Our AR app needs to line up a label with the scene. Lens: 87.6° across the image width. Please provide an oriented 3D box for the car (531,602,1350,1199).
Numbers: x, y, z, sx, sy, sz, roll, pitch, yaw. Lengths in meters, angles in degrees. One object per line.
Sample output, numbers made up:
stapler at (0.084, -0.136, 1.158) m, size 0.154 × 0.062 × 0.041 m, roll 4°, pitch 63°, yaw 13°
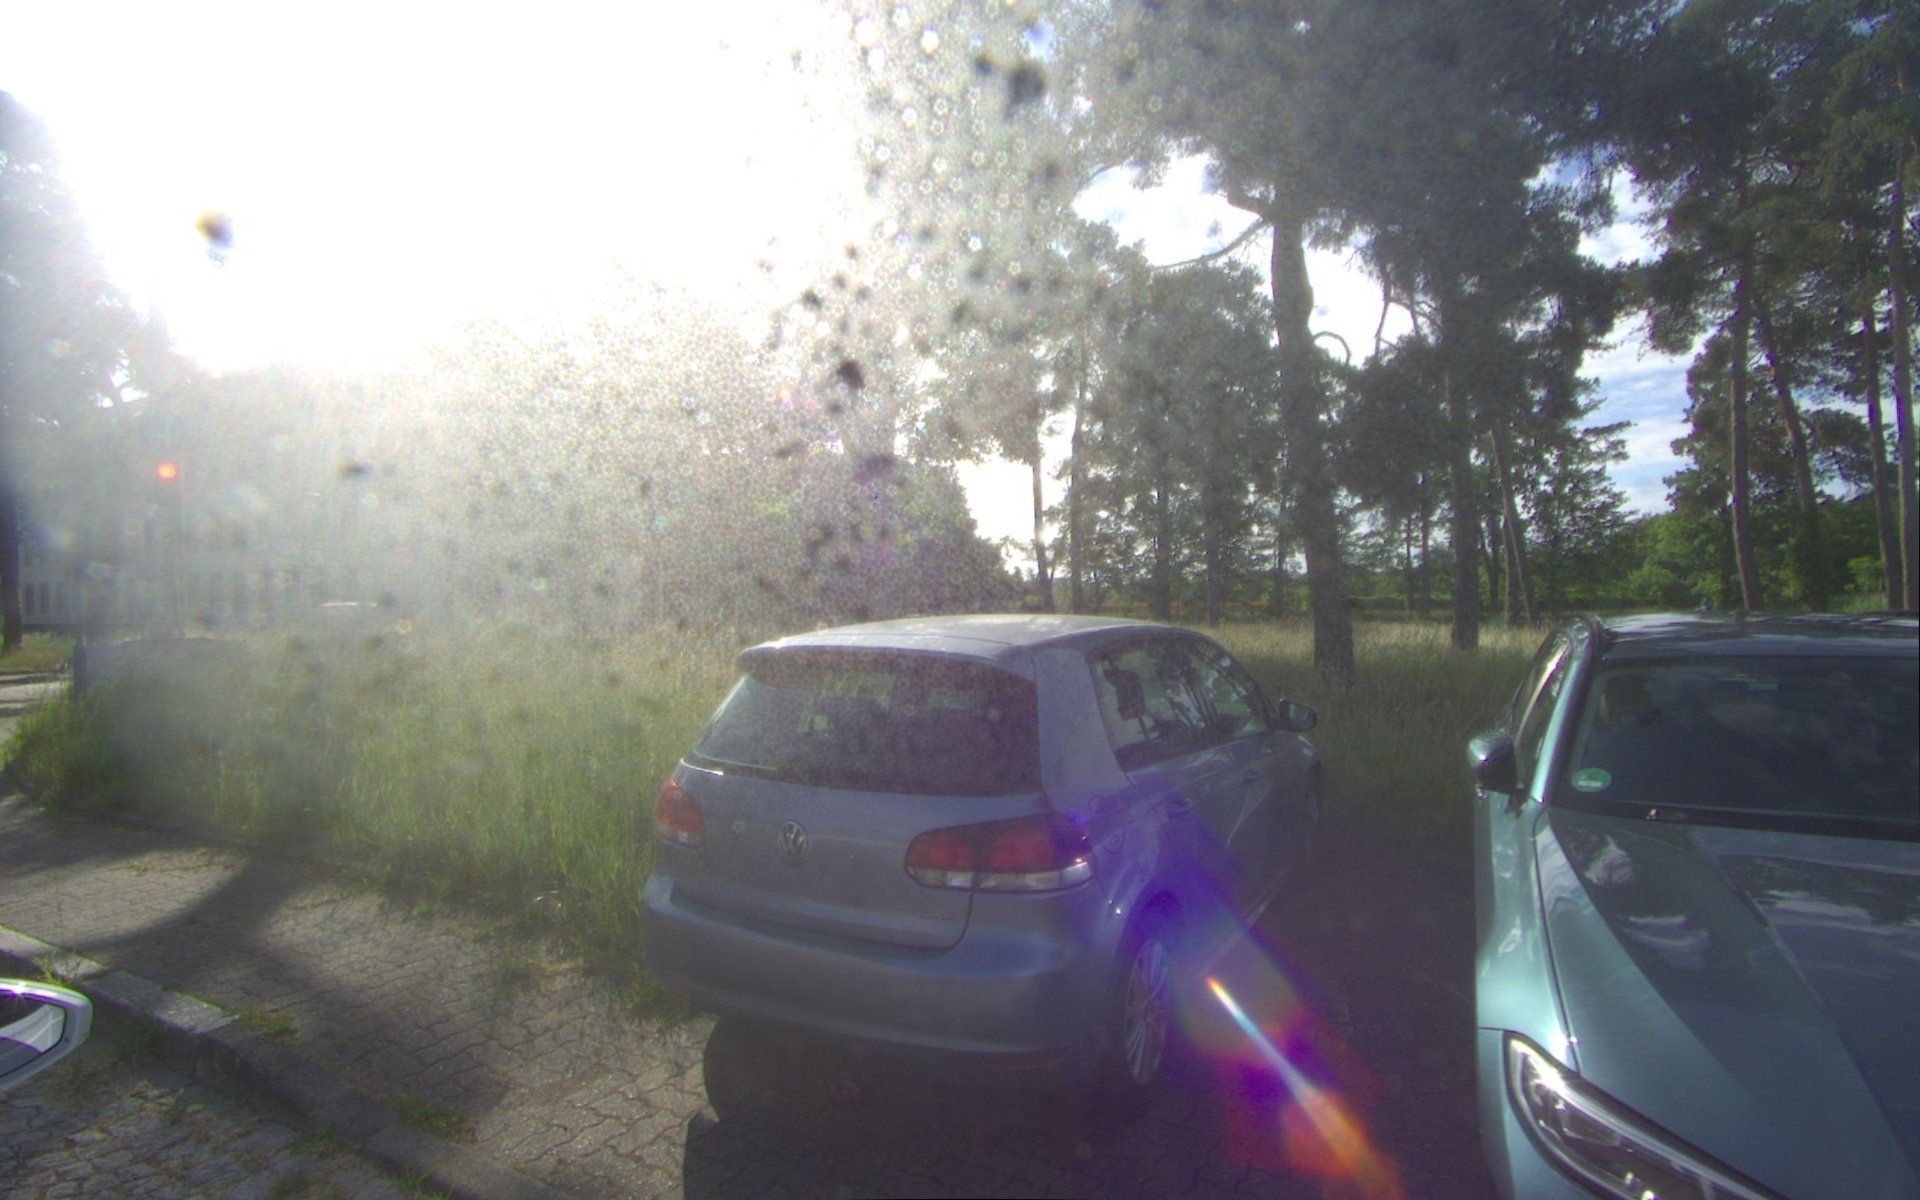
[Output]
car at (0.431, 0.768, 4.478) m, size 1.843 × 1.480 × 4.009 m, roll -1°, pitch 0°, yaw 30°

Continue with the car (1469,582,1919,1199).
car at (2.641, 0.717, 3.159) m, size 1.798 × 1.537 × 4.490 m, roll -1°, pitch 0°, yaw 28°

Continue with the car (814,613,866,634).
car at (-8.532, 1.676, 71.633) m, size 1.818 × 1.483 × 3.985 m, roll 0°, pitch -1°, yaw 27°

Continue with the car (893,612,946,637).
car at (-2.699, 1.606, 67.011) m, size 1.827 × 1.619 × 3.985 m, roll 0°, pitch -1°, yaw 27°
